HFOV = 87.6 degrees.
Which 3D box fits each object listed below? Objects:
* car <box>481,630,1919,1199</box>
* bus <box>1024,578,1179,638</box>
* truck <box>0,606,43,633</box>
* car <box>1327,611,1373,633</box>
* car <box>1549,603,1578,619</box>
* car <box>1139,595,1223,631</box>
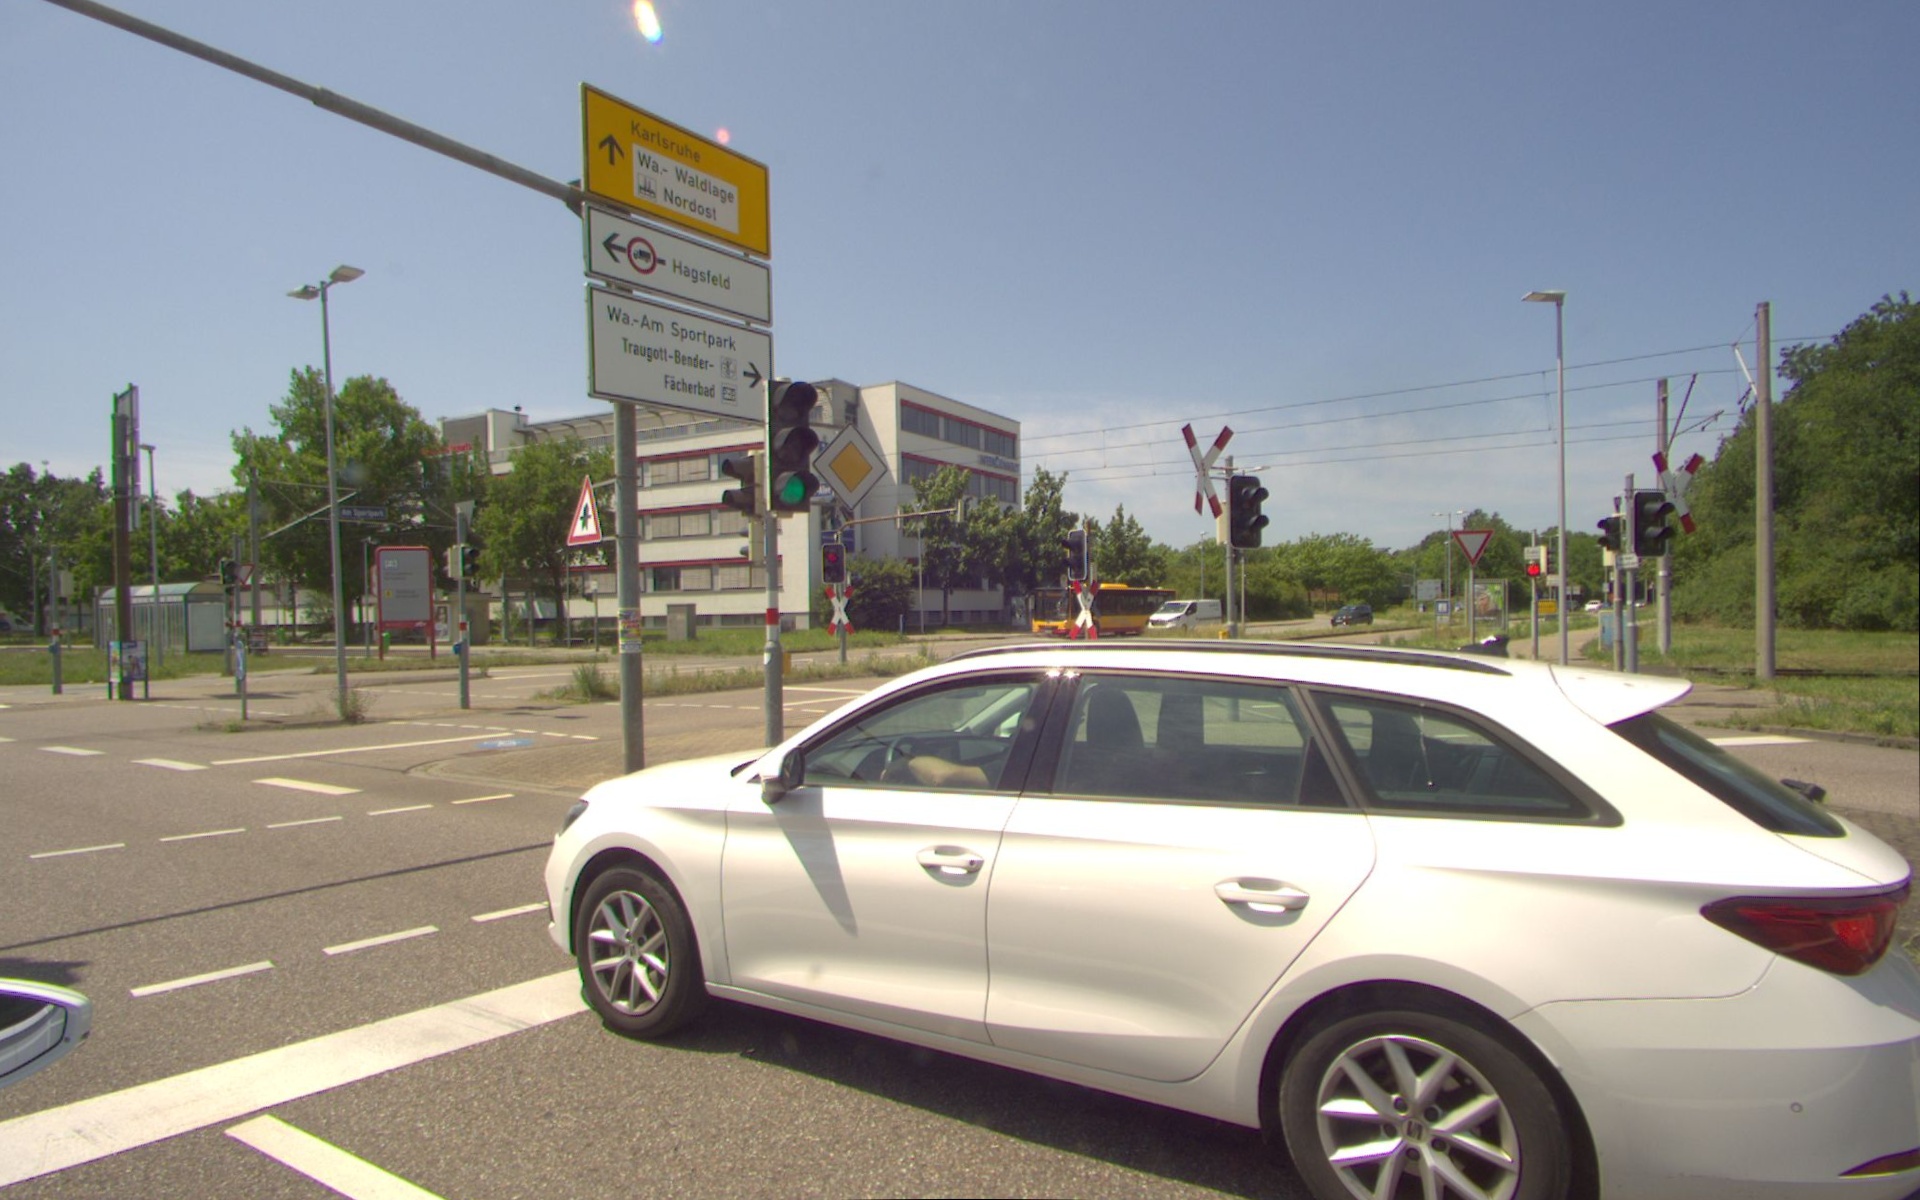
[{"bbox_3d":[0.397,0.824,3.610,4.384,1.408,1.680,-1,-1,30],"label":"car"},{"bbox_3d":[8.613,0.542,59.089,2.809,3.159,11.977,-2,-2,42],"label":"bus"},{"bbox_3d":[-104.466,2.149,109.409,2.283,2.881,5.837,-1,1,26],"label":"truck"},{"bbox_3d":[29.389,1.670,75.432,3.958,1.600,1.659,1,0,-42],"label":"car"},{"bbox_3d":[68.174,1.229,113.049,1.979,1.813,3.963,-1,-1,44],"label":"car"},{"bbox_3d":[11.746,0.725,52.957,5.021,1.750,1.812,2,-3,-43],"label":"car"}]
